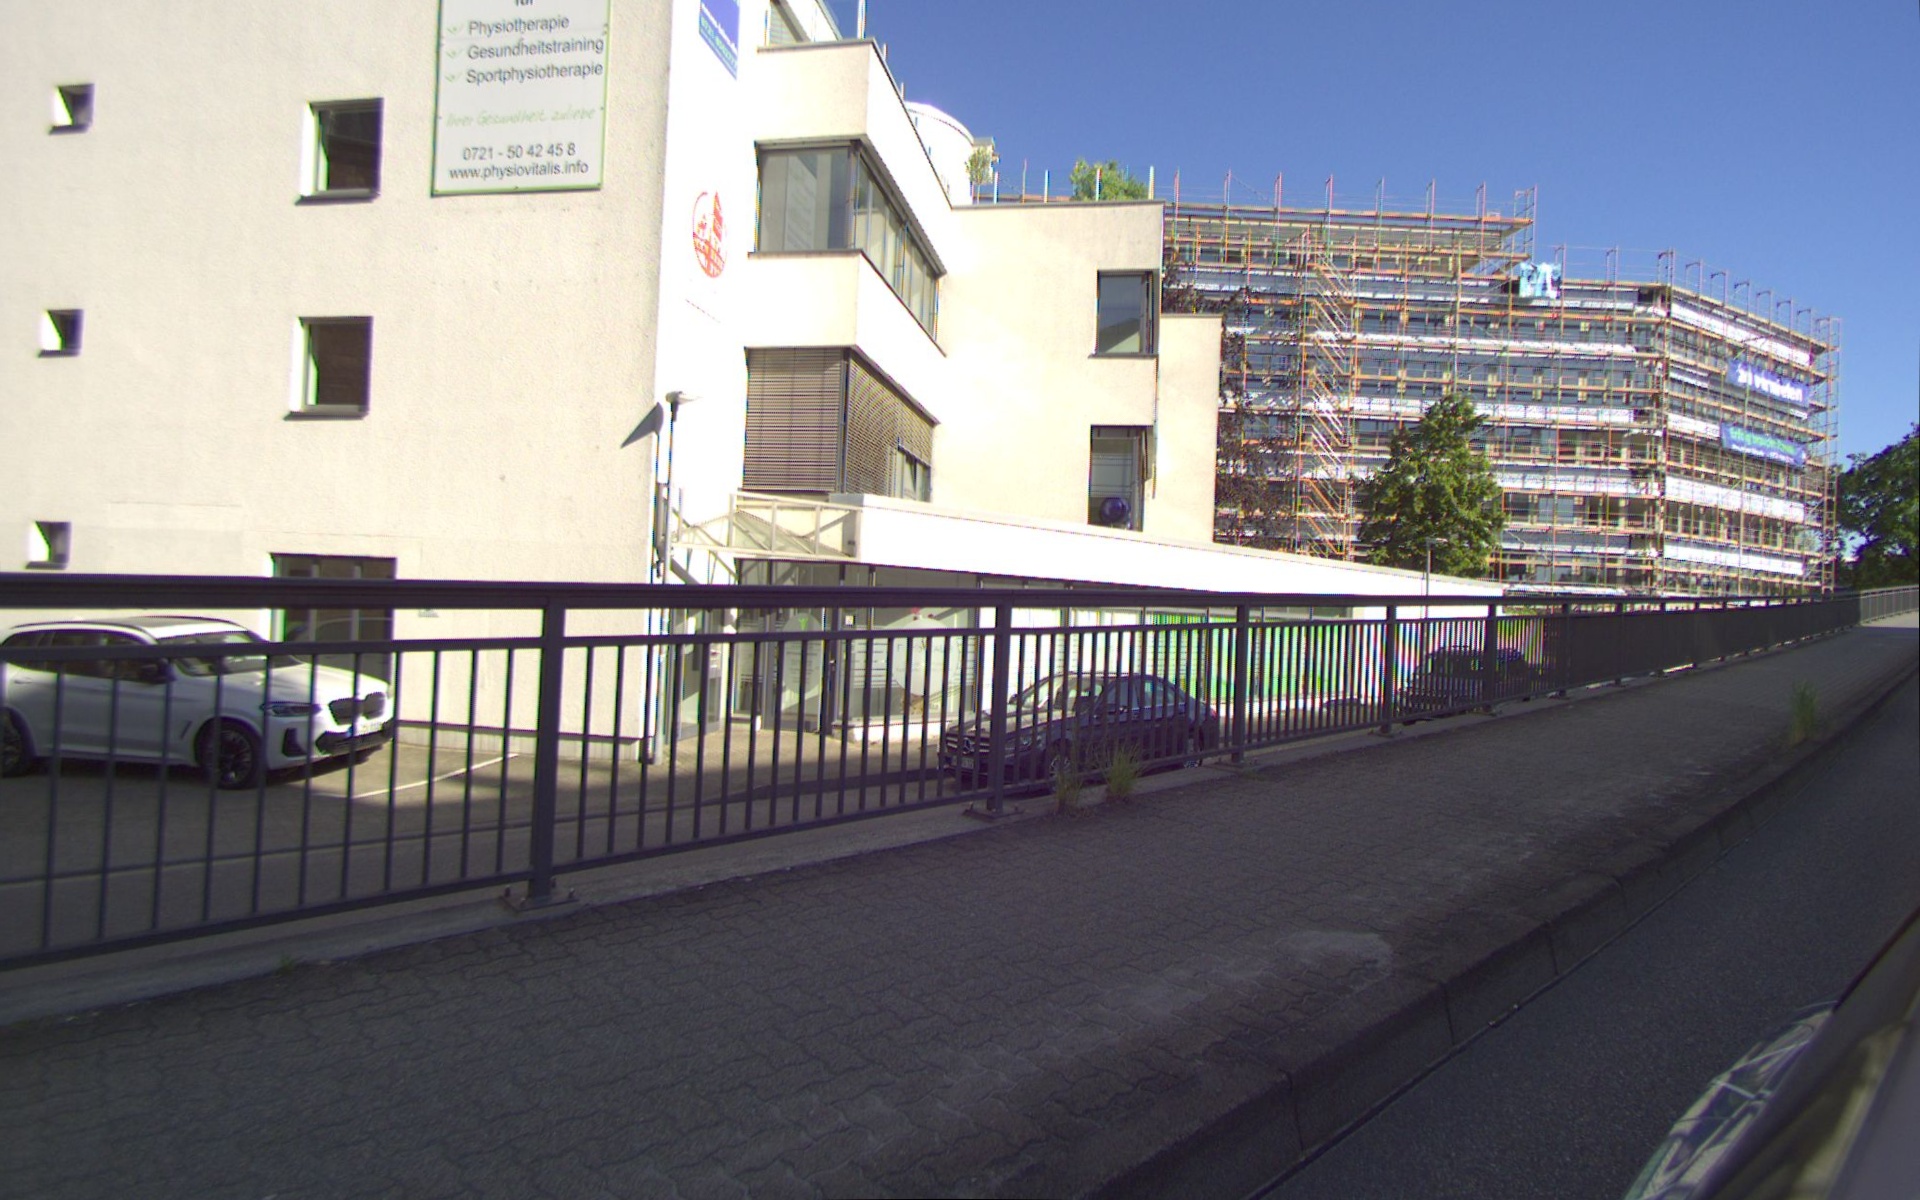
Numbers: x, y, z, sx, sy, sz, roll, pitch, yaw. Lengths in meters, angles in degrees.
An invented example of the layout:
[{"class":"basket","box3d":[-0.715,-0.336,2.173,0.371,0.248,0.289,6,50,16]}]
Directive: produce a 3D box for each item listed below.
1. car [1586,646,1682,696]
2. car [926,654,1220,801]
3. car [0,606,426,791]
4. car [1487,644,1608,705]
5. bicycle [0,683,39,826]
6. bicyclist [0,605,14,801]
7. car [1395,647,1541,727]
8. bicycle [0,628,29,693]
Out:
[{"class":"car","box3d":[21.788,2.247,32.651,3.932,1.410,1.723,2,-1,-43]},{"class":"car","box3d":[1.608,1.559,13.556,3.930,1.541,1.724,2,-1,-41]},{"class":"car","box3d":[-8.747,1.010,11.538,4.455,1.707,1.840,2,0,8]},{"class":"car","box3d":[15.711,1.923,26.979,3.932,1.410,1.723,2,-1,-43]},{"class":"bicycle","box3d":[-8.184,1.299,7.994,0.675,1.155,1.842,2,-1,-21]},{"class":"bicyclist","box3d":[-8.202,0.850,8.078,0.673,1.629,0.698,2,-2,-20]},{"class":"car","box3d":[11.609,1.904,23.028,3.932,1.541,1.723,2,-1,-43]},{"class":"bicycle","box3d":[-16.735,1.046,16.752,0.655,1.065,1.916,2,1,12]}]
